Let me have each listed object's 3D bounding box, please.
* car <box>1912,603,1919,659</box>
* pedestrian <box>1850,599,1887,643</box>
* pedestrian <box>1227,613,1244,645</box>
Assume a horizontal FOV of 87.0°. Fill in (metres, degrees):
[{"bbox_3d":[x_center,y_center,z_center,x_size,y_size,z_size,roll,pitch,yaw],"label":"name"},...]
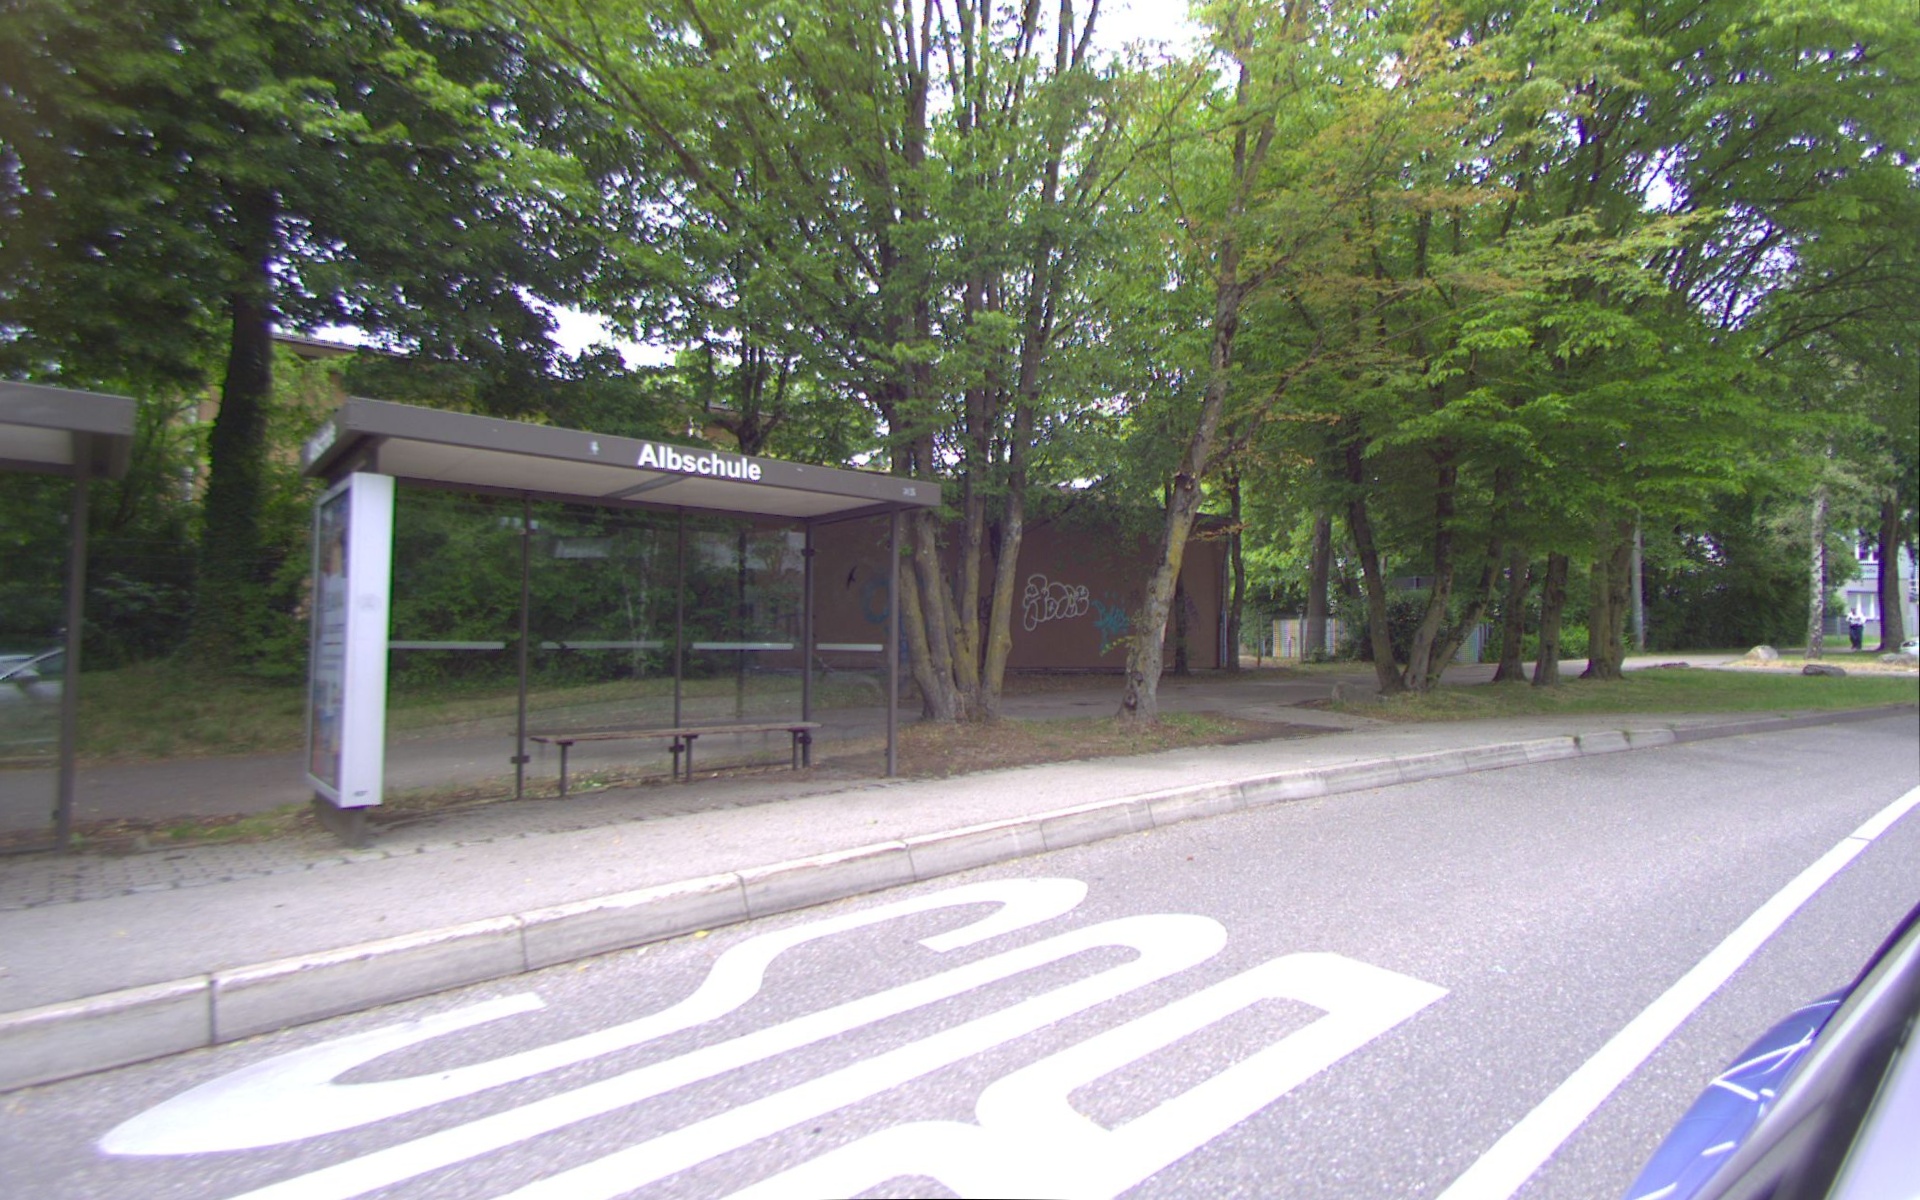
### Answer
[{"bbox_3d":[29.688,0.814,28.202,1.875,1.606,4.471,0,-2,-43],"label":"car"},{"bbox_3d":[35.036,0.813,39.038,0.762,1.665,0.695,0,-1,-12],"label":"pedestrian"},{"bbox_3d":[9.034,0.946,33.212,0.392,1.042,0.401,0,-1,-14],"label":"pedestrian"}]
